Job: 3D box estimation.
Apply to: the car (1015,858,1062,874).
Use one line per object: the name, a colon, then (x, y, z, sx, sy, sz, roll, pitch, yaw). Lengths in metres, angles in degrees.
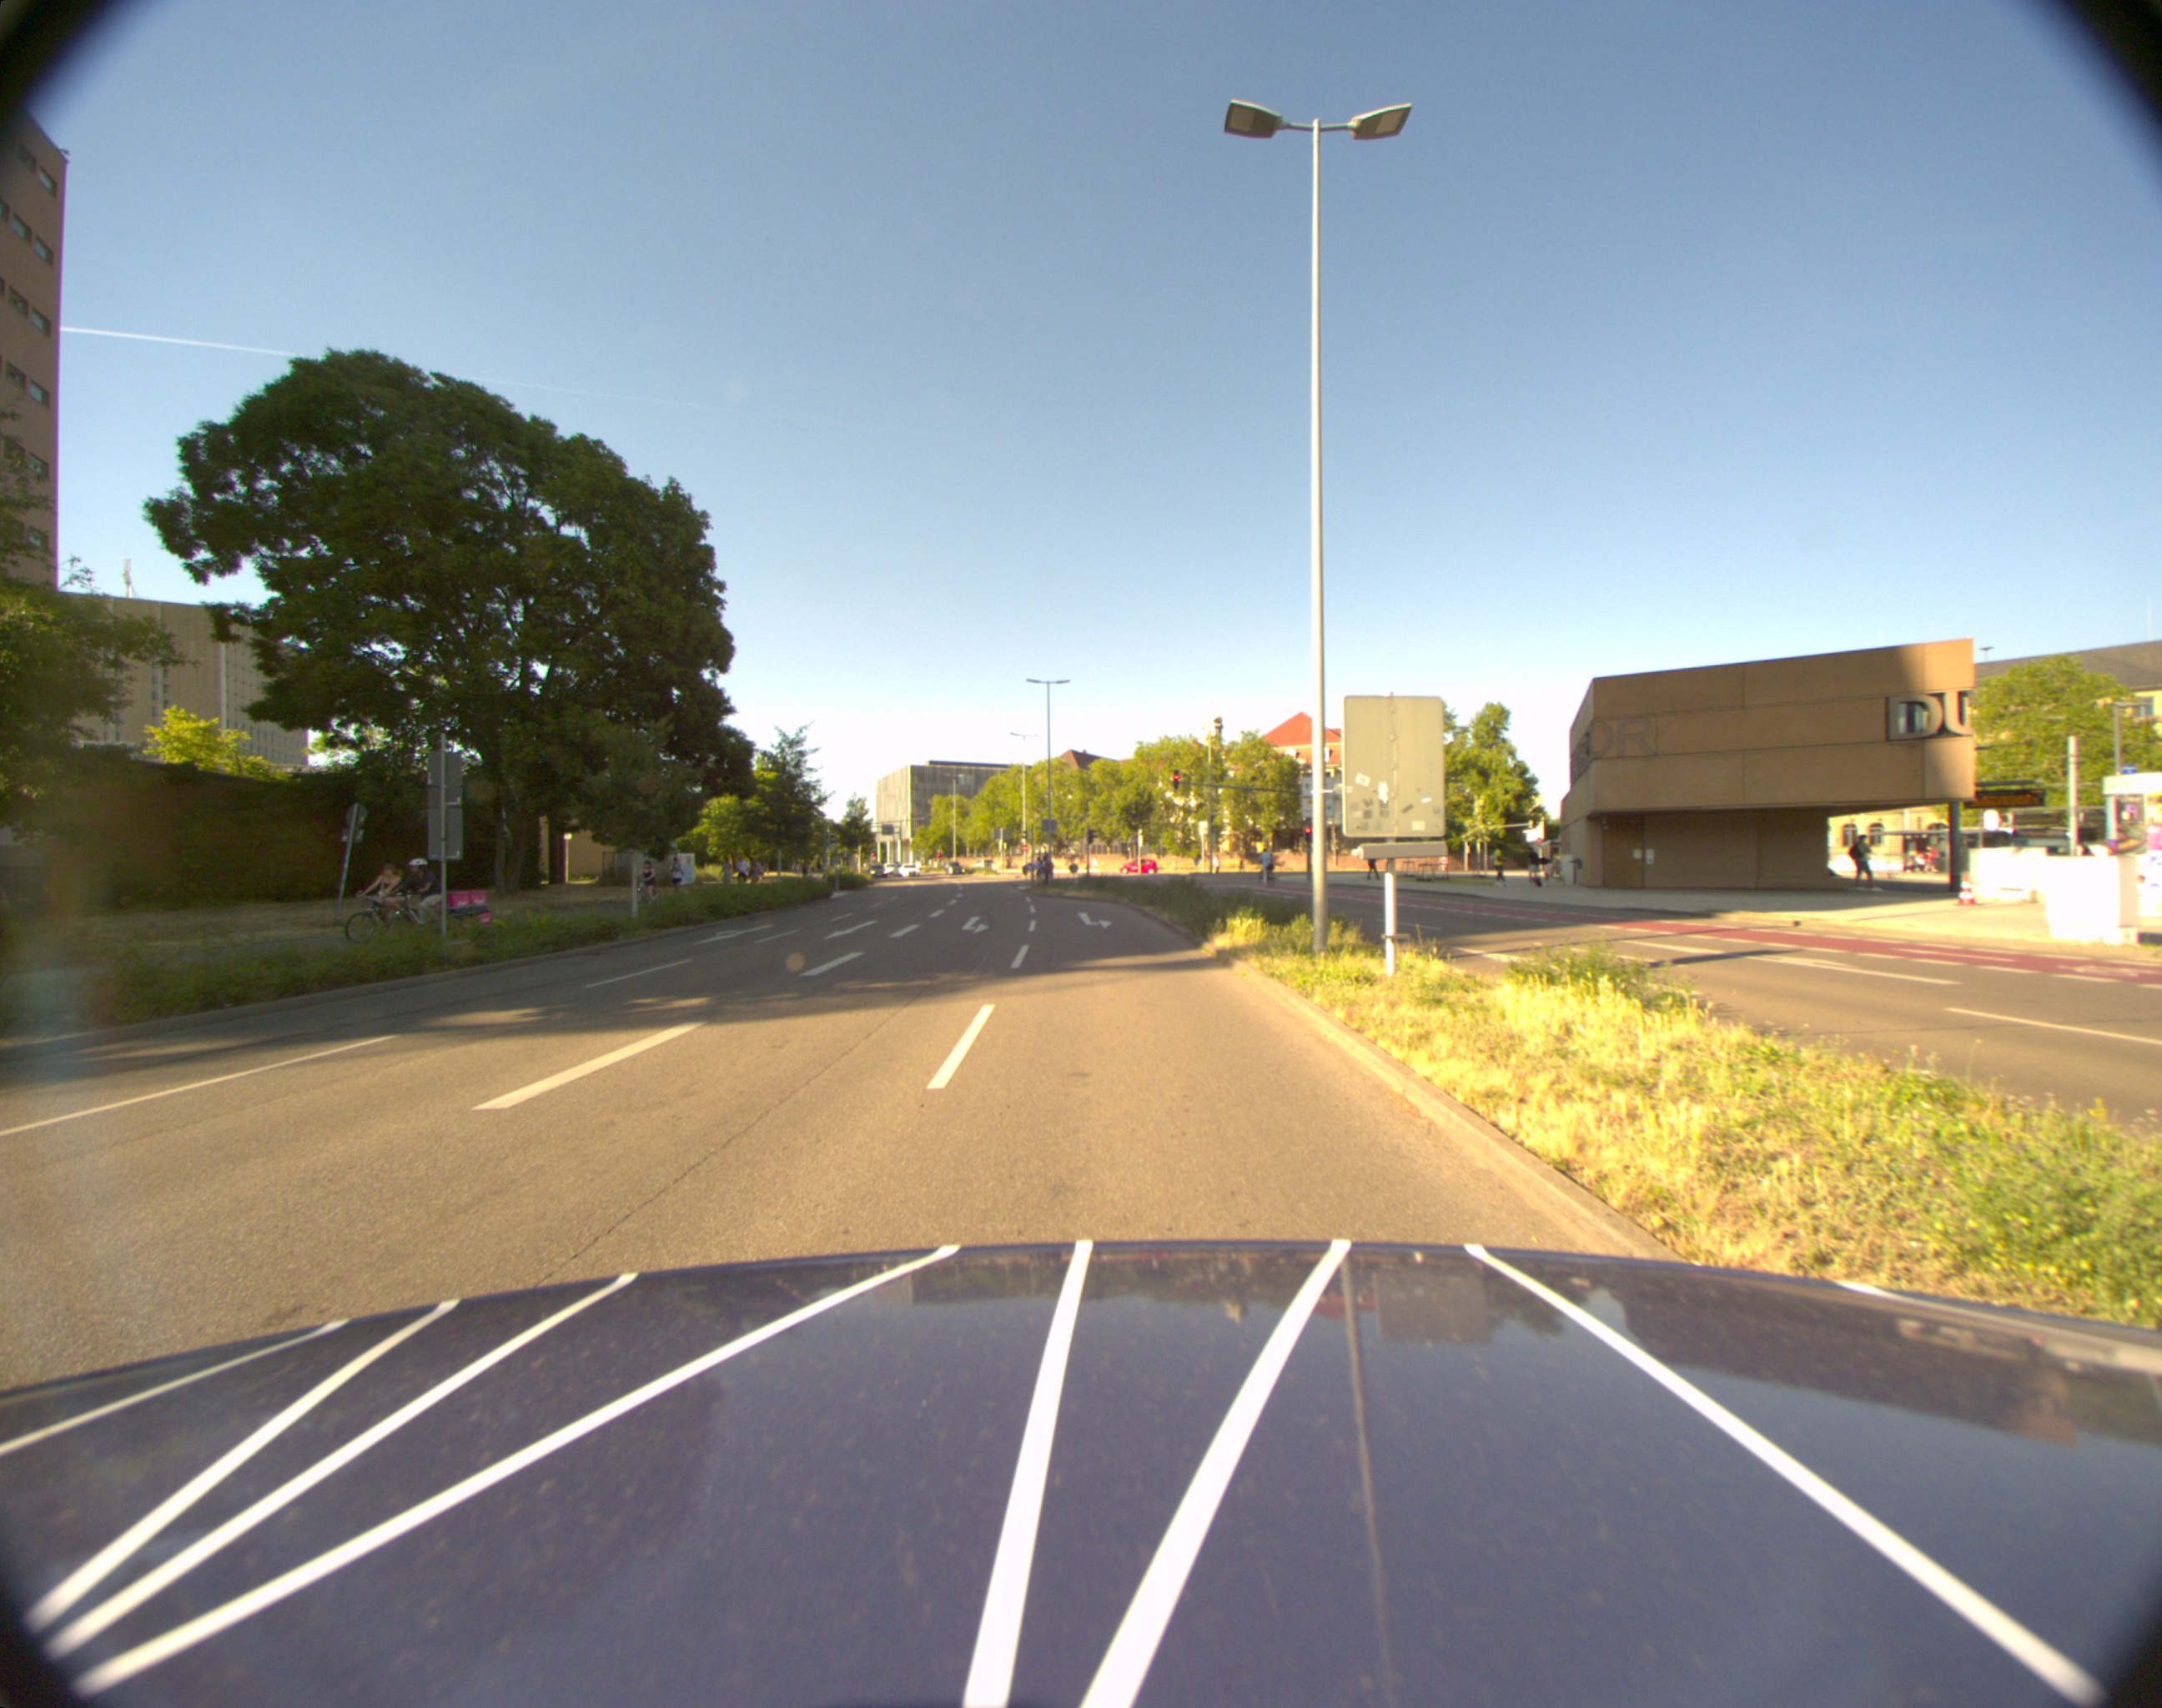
car: (-4.632, 1.291, 82.161, 4.595, 1.576, 2.200, -3, -2, 29)

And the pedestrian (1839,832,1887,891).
pedestrian: (26.861, 0.259, 26.108, 0.978, 1.970, 0.720, 0, 0, 29)

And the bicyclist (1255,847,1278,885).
bicyclist: (9.235, 0.582, 37.859, 0.742, 1.821, 1.012, -1, 1, -15)

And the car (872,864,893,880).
car: (-20.653, 1.833, 79.084, 1.805, 1.510, 3.993, -1, 0, -19)

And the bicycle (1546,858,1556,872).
bicycle: (38.021, 0.905, 61.409, 0.565, 1.048, 1.977, -2, 0, 35)

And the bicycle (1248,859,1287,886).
bicycle: (9.252, 0.881, 37.829, 0.742, 1.248, 2.553, -1, 1, -15)

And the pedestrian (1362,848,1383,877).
pedestrian: (17.186, 0.524, 44.744, 0.900, 1.675, 0.747, -1, 0, -7)

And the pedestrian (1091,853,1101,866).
pedestrian: (1.780, 0.669, 89.584, 0.975, 1.527, 0.921, -1, 0, -22)

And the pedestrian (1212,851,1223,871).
pedestrian: (13.178, 0.691, 73.186, 0.872, 1.884, 0.712, 0, 4, -8)

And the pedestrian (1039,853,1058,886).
pedestrian: (-1.708, 0.806, 39.937, 0.927, 1.731, 0.787, -1, 0, -7)

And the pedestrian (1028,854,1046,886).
pedestrian: (-2.393, 0.854, 40.951, 0.927, 1.731, 0.756, -1, 0, -7)

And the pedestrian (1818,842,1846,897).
pedestrian: (27.973, 0.568, 28.303, 0.613, 2.001, 0.809, -3, -2, 40)

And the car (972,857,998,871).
car: (-12.276, 1.229, 96.528, 2.198, 1.674, 4.598, -1, 0, -22)

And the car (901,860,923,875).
car: (-18.092, 1.441, 81.406, 1.805, 1.510, 4.424, -1, 0, -19)

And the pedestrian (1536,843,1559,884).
pedestrian: (19.625, 0.405, 31.945, 0.734, 1.720, 0.666, -2, -1, 28)

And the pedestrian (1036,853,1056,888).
pedestrian: (-1.745, 0.815, 38.250, 0.927, 1.731, 0.756, -1, 0, -7)

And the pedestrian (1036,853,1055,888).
pedestrian: (-1.828, 0.836, 39.028, 0.927, 1.731, 0.756, -1, 0, -7)

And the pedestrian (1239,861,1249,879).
pedestrian: (15.752, 1.560, 73.334, 0.791, 1.644, 0.713, 1, 4, 20)

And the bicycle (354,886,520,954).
bicycle: (-12.895, 1.284, 15.369, 0.779, 1.149, 2.583, 0, 0, 14)

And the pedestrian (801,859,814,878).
pedestrian: (-25.523, 1.337, 71.007, 1.020, 1.739, 0.848, 0, 0, -28)

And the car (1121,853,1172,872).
car: (6.160, 0.788, 71.401, 4.601, 1.576, 2.197, -2, -2, 5)

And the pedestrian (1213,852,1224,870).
pedestrian: (13.102, 0.668, 72.418, 0.872, 1.665, 0.712, 0, 4, -8)

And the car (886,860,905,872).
car: (-23.120, 1.467, 94.395, 1.927, 1.510, 4.011, -1, 0, -19)

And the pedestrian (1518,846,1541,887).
pedestrian: (18.501, 0.513, 31.348, 0.638, 1.678, 0.551, -2, -1, 16)

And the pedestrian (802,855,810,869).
pedestrian: (-31.291, 0.917, 86.493, 0.764, 1.534, 0.845, 0, 0, -28)

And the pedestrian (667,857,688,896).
pedestrian: (-17.366, 0.963, 32.710, 0.623, 1.689, 0.629, 0, 0, -14)

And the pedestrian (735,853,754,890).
pedestrian: (-17.111, 0.884, 38.602, 0.575, 1.858, 0.624, 0, 1, 29)

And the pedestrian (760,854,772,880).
pedestrian: (-21.431, 0.880, 51.653, 0.677, 1.694, 0.875, -1, 0, -27)

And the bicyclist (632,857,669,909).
bicyclist: (-15.146, 1.003, 26.768, 0.717, 1.777, 0.849, -2, 1, 1)

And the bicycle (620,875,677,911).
bicycle: (-15.143, 1.339, 26.692, 0.719, 1.115, 2.066, -2, 0, 2)

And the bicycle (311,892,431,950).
bicycle: (-15.005, 1.385, 16.140, 0.719, 1.114, 1.870, -2, -2, 4)

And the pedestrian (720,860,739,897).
pedestrian: (-17.870, 1.250, 38.596, 0.575, 1.858, 0.624, 0, 1, 29)

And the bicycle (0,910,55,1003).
bicycle: (-14.043, 1.318, 8.975, 0.780, 1.149, 2.290, 0, 0, -2)

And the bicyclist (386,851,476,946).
bicyclist: (-12.945, 0.855, 15.161, 0.779, 1.823, 1.094, 0, 0, 14)

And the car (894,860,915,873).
car: (-20.513, 1.427, 88.325, 1.927, 1.510, 4.011, -1, 0, -19)

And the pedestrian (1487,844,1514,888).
pedestrian: (17.681, 0.511, 32.036, 0.718, 1.824, 0.639, -2, -1, 4)

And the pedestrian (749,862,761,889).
pedestrian: (-19.200, 1.251, 44.820, 0.623, 1.565, 0.638, -1, 0, -22)

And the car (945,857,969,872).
car: (-13.517, 1.146, 82.862, 1.927, 1.510, 4.011, -1, 0, -19)

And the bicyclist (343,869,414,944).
bicyclist: (-15.003, 1.104, 16.240, 0.717, 1.539, 0.850, -2, -1, 4)

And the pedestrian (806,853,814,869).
pedestrian: (-29.021, 0.726, 81.332, 0.713, 1.703, 0.732, -1, 0, -22)
